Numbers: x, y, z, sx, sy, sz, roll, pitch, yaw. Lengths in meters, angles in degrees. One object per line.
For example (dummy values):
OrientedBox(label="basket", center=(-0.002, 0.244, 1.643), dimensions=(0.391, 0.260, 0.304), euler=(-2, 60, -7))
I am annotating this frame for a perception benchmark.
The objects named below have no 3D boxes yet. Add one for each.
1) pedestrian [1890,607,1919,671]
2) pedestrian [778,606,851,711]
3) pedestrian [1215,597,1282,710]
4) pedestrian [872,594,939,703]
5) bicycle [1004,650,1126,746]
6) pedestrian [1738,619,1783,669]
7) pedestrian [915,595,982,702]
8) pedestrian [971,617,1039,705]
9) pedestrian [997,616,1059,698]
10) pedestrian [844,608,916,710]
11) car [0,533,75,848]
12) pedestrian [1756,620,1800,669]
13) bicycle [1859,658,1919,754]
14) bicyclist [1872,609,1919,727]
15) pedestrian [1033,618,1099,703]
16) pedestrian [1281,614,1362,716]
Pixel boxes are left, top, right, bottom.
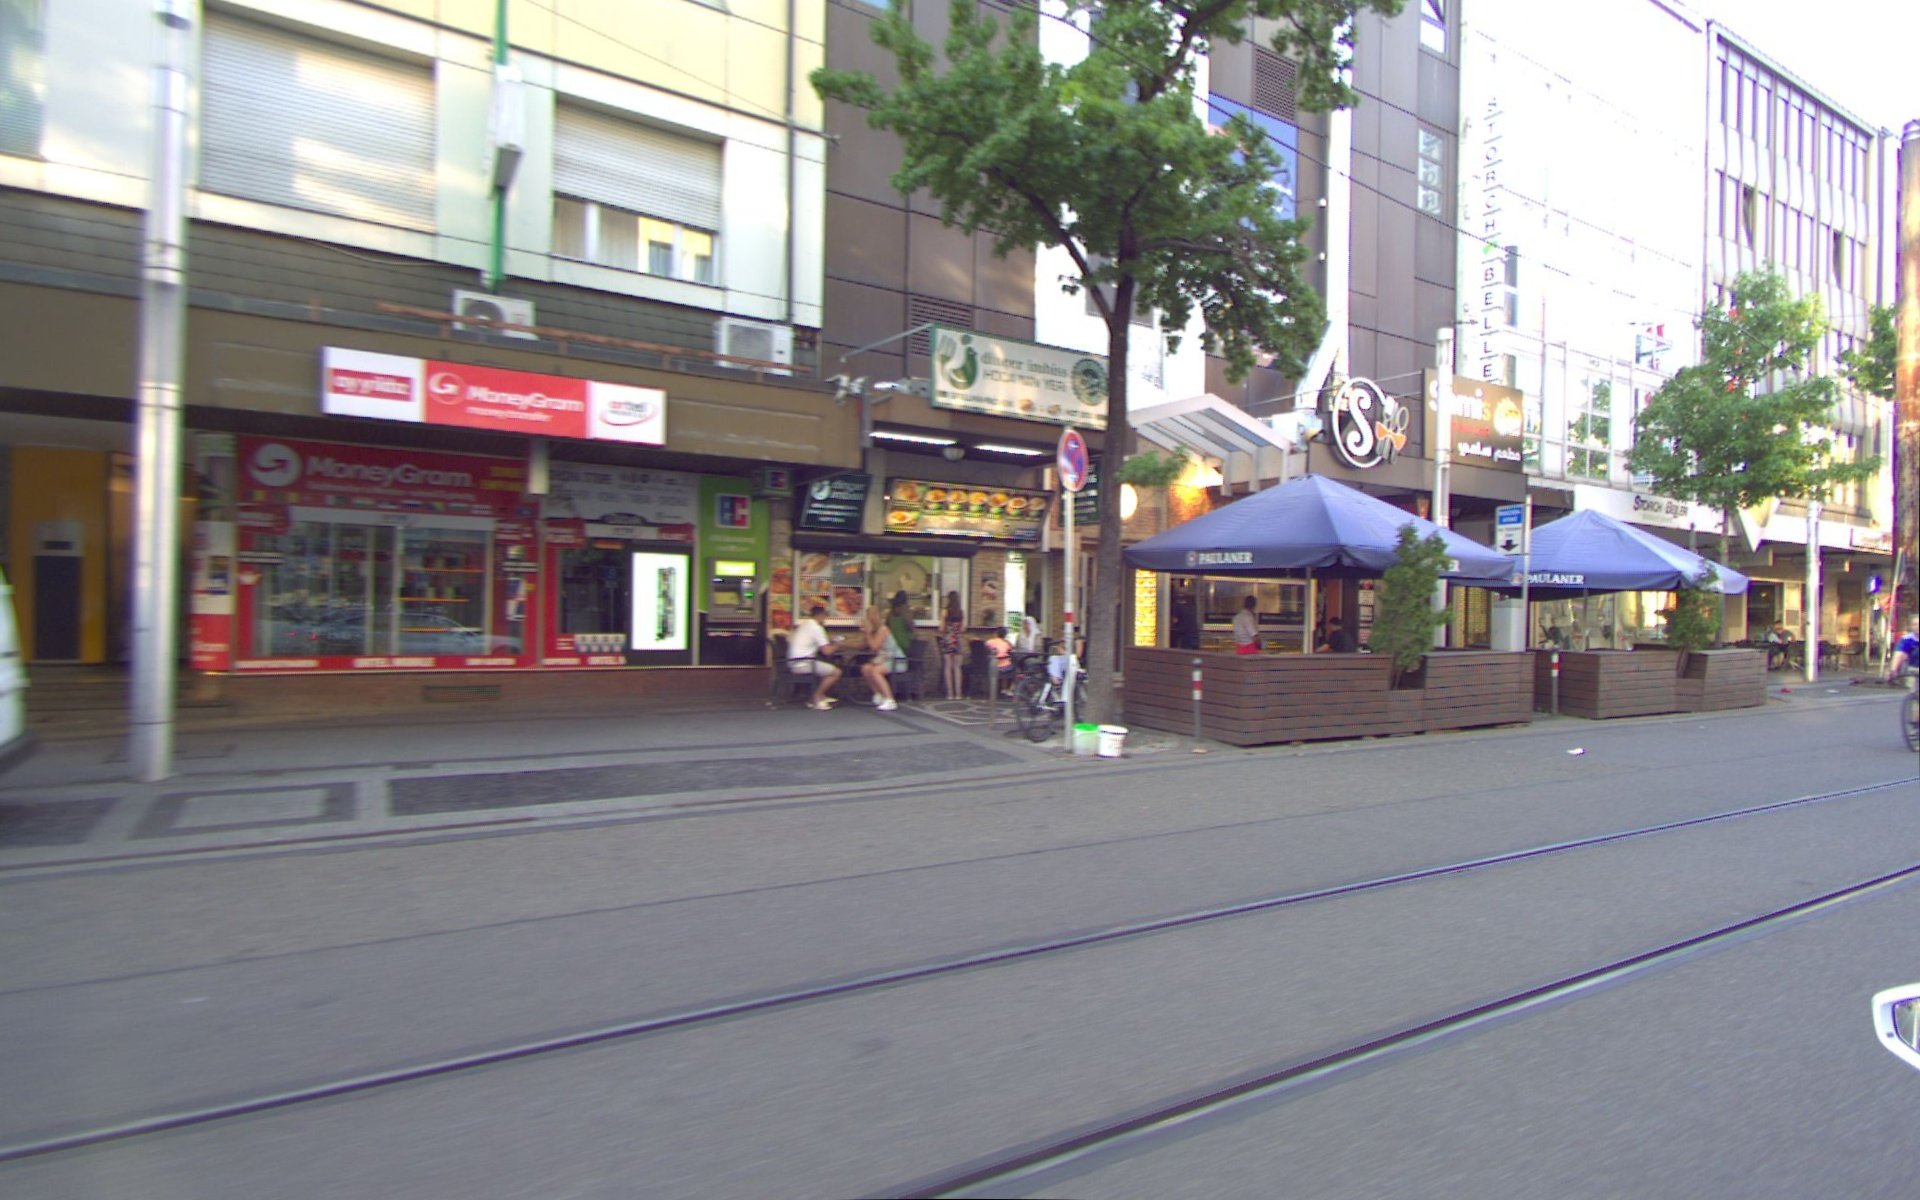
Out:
OrientedBox(label="pedestrian", center=(27.951, 1.142, 29.425), dimensions=(0.978, 1.816, 0.681), euler=(2, 2, -28))
OrientedBox(label="pedestrian", center=(-1.864, 0.740, 12.829), dimensions=(0.658, 1.244, 0.637), euler=(2, 4, -33))
OrientedBox(label="pedestrian", center=(4.187, 0.767, 14.595), dimensions=(0.559, 1.573, 0.652), euler=(2, 2, -32))
OrientedBox(label="pedestrian", center=(-0.775, 0.674, 14.132), dimensions=(0.635, 1.453, 0.657), euler=(2, 3, -31))
OrientedBox(label="bicycle", center=(1.250, 1.093, 11.602), dimensions=(0.473, 0.938, 1.819), euler=(2, 1, 39))
OrientedBox(label="pedestrian", center=(22.383, 1.234, 28.094), dimensions=(0.902, 1.343, 0.666), euler=(2, 2, -32))
OrientedBox(label="pedestrian", center=(-0.173, 0.694, 14.510), dimensions=(0.635, 1.453, 0.657), euler=(2, 3, -31))
OrientedBox(label="pedestrian", center=(0.634, 0.846, 14.223), dimensions=(0.658, 1.172, 0.637), euler=(2, 2, -33))
OrientedBox(label="pedestrian", center=(1.037, 0.864, 15.371), dimensions=(0.658, 1.172, 0.637), euler=(2, 2, -33))
OrientedBox(label="pedestrian", center=(-1.063, 0.766, 13.220), dimensions=(0.658, 1.244, 0.637), euler=(2, 4, -33))
OrientedBox(label="car", center=(-7.714, 0.469, 5.272), dimensions=(4.277, 1.846, 1.818), euler=(1, 2, -29))
OrientedBox(label="pedestrian", center=(23.387, 1.268, 28.721), dimensions=(0.902, 1.343, 0.666), euler=(2, 2, -32))
OrientedBox(label="bicycle", center=(12.198, 1.311, 12.663), dimensions=(1.844, 1.088, 0.727), euler=(1, 1, -30))
OrientedBox(label="bicyclist", center=(12.154, 0.845, 12.623), dimensions=(0.887, 1.434, 0.755), euler=(1, 1, -30))
OrientedBox(label="pedestrian", center=(1.559, 0.877, 14.745), dimensions=(0.658, 1.172, 0.637), euler=(2, 2, -33))
OrientedBox(label="pedestrian", center=(5.340, 0.941, 14.858), dimensions=(0.738, 1.420, 0.760), euler=(2, 2, -31))
